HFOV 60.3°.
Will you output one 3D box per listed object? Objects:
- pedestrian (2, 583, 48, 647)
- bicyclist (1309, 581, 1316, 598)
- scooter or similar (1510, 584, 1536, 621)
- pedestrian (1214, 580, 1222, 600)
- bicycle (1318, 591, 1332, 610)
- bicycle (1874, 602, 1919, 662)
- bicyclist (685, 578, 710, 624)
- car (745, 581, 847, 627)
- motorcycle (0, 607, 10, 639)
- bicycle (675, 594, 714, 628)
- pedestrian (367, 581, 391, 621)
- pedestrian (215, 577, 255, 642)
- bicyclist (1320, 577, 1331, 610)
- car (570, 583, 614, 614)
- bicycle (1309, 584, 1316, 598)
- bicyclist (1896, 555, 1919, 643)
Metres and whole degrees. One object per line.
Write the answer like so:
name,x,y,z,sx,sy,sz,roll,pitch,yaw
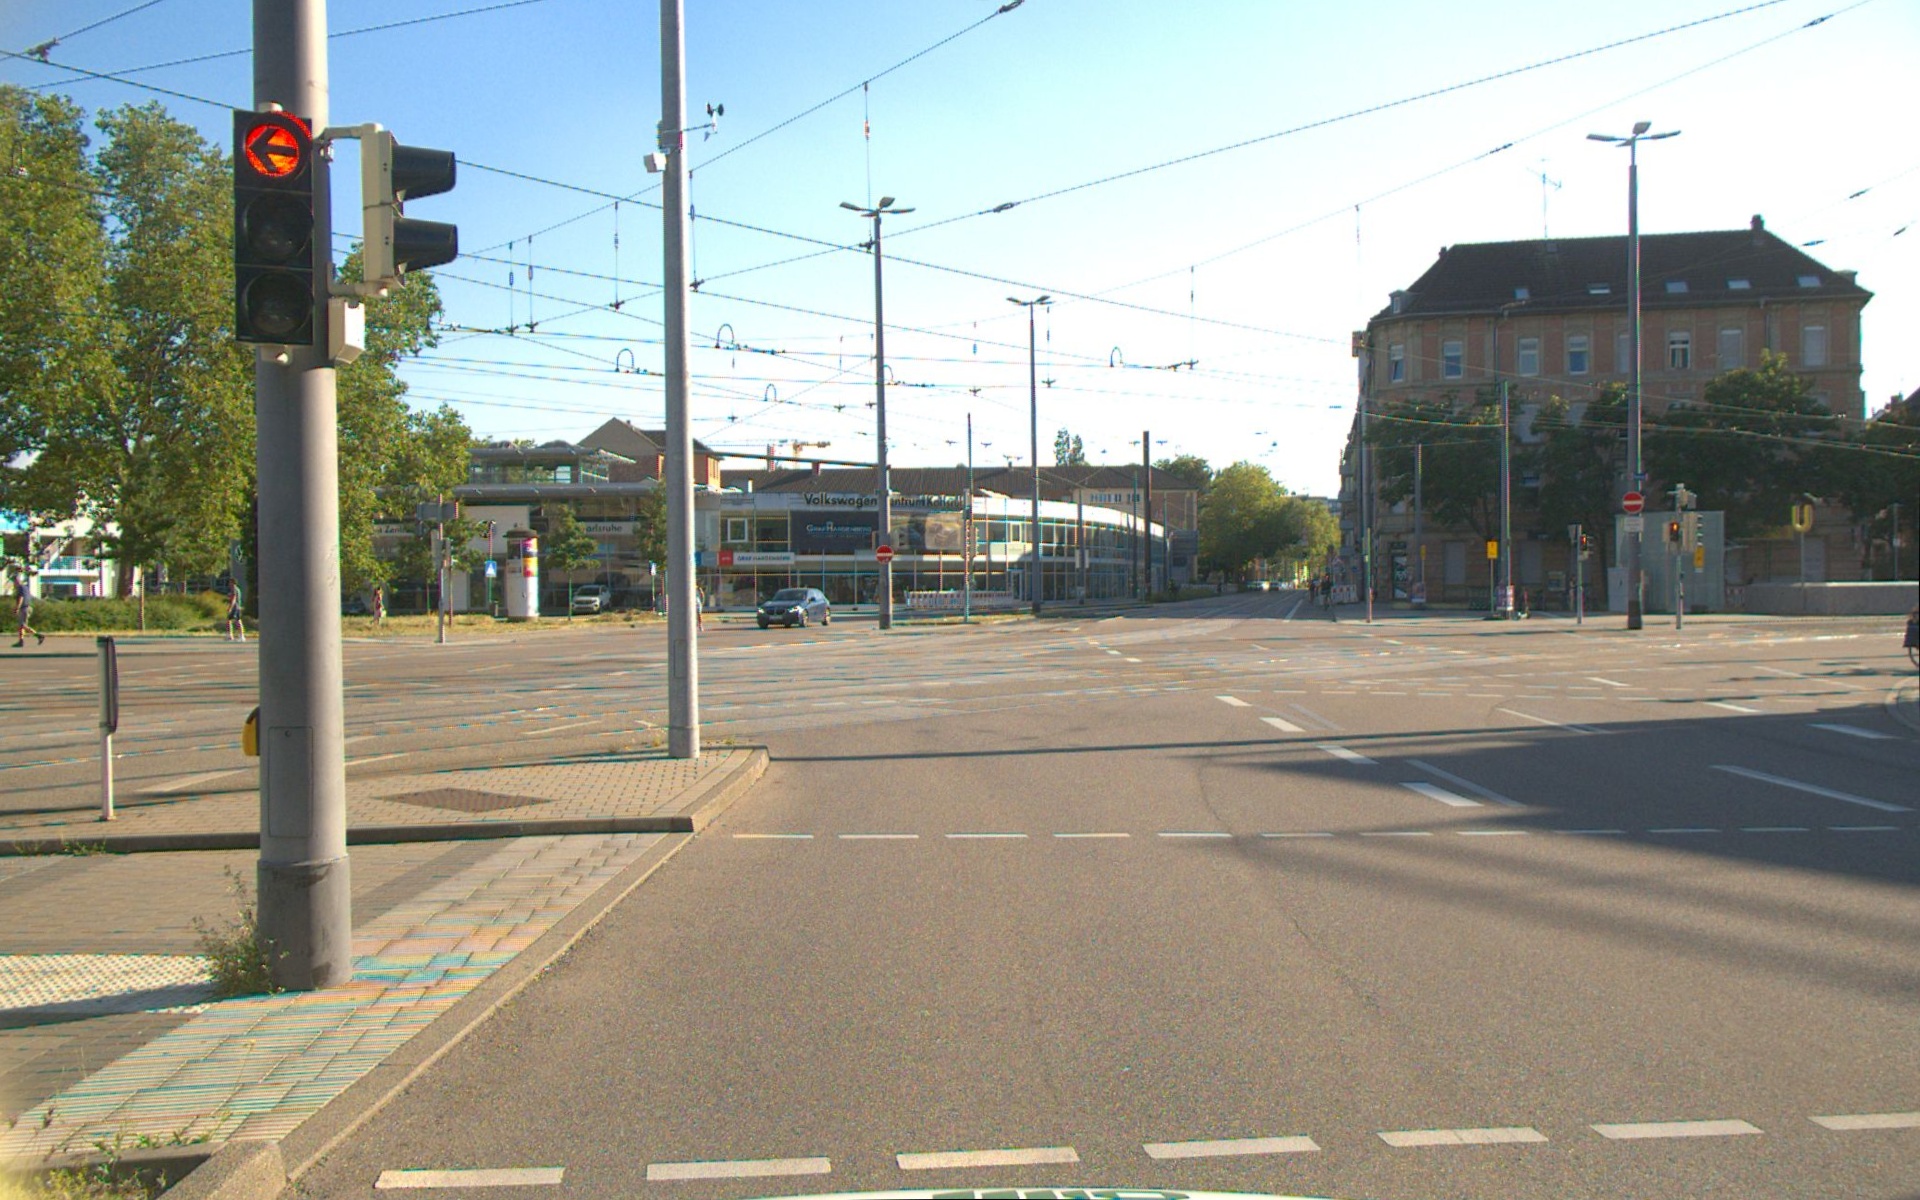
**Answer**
pedestrian,-25.726,0.419,45.521,0.777,1.736,0.759,1,-1,6
bicyclist,23.460,-0.705,110.082,0.399,1.136,0.399,1,-1,11
scooter or similar,21.573,0.096,63.421,0.769,1.400,1.910,1,0,13
pedestrian,27.292,-1.046,174.831,0.702,2.049,0.758,1,-1,1
bicycle,19.427,0.026,87.978,0.643,0.969,1.601,1,0,14
bicycle,17.688,0.601,30.108,0.524,1.067,2.316,1,1,-9
bicyclist,-9.466,0.048,59.642,0.585,1.644,0.823,1,-1,17
car,-6.063,0.164,61.570,1.954,1.613,3.996,1,0,26
motorcycle,-28.928,0.671,48.491,1.748,0.930,0.675,1,0,-21
bicycle,-9.524,0.392,59.459,0.599,1.210,1.870,1,0,17
pedestrian,-25.470,0.031,72.493,0.839,1.723,0.496,1,-1,-3
pedestrian,-21.761,0.286,49.660,0.777,1.919,0.759,1,-1,6
bicyclist,19.416,-0.362,87.873,0.508,1.730,0.516,1,-1,2
car,-21.986,-0.093,99.020,1.954,1.780,3.997,1,0,-4
bicycle,23.483,-0.590,110.195,0.401,0.958,1.847,1,0,12
bicyclist,17.680,-0.015,30.237,0.505,1.584,0.945,1,0,-9
